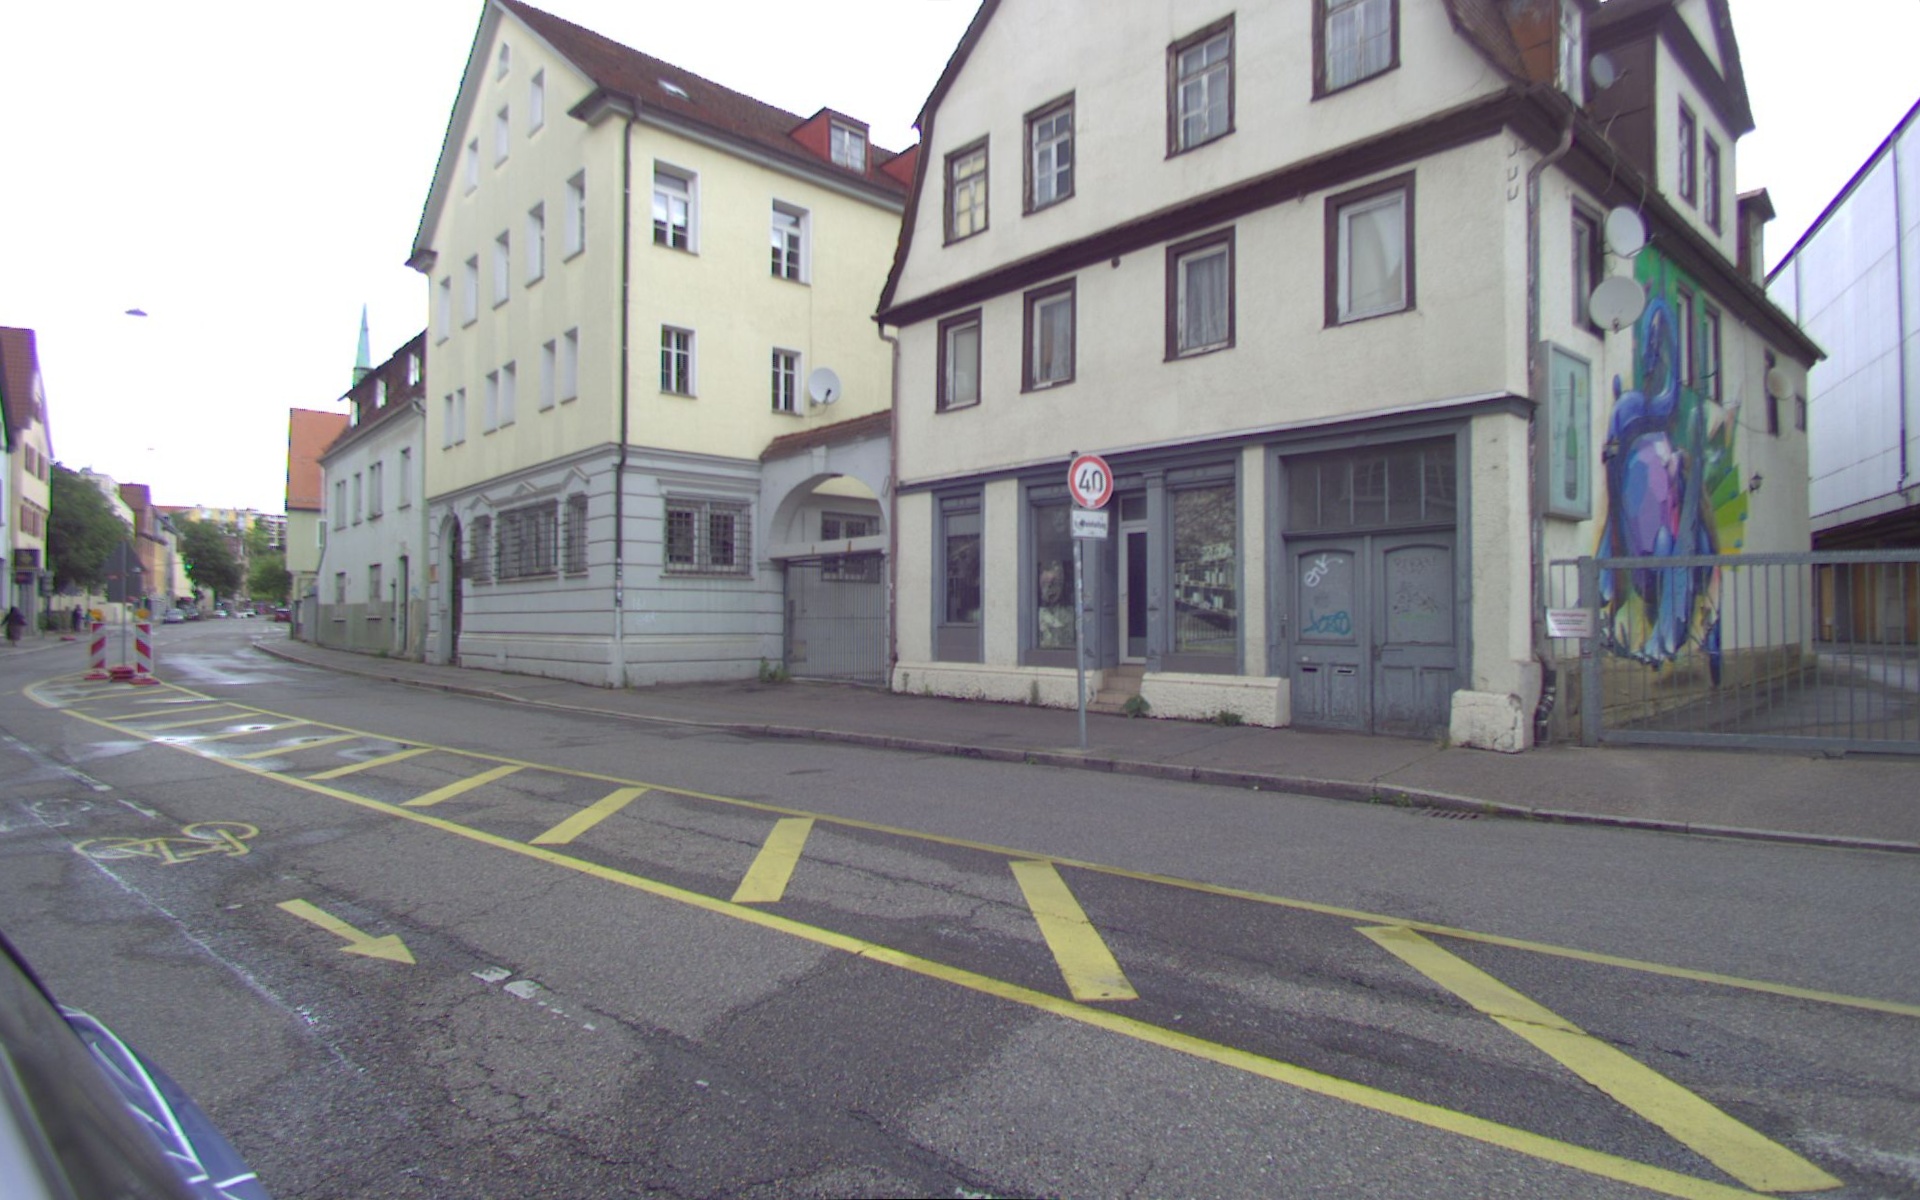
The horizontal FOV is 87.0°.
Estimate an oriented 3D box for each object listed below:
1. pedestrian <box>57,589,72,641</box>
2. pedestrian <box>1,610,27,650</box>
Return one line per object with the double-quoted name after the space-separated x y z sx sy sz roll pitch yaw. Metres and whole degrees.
-43.769 0.727 49.458 0.487 2.547 0.747 1 -2 -38 "pedestrian"
-38.957 1.223 41.679 0.714 1.626 0.650 1 -2 -37 "pedestrian"
